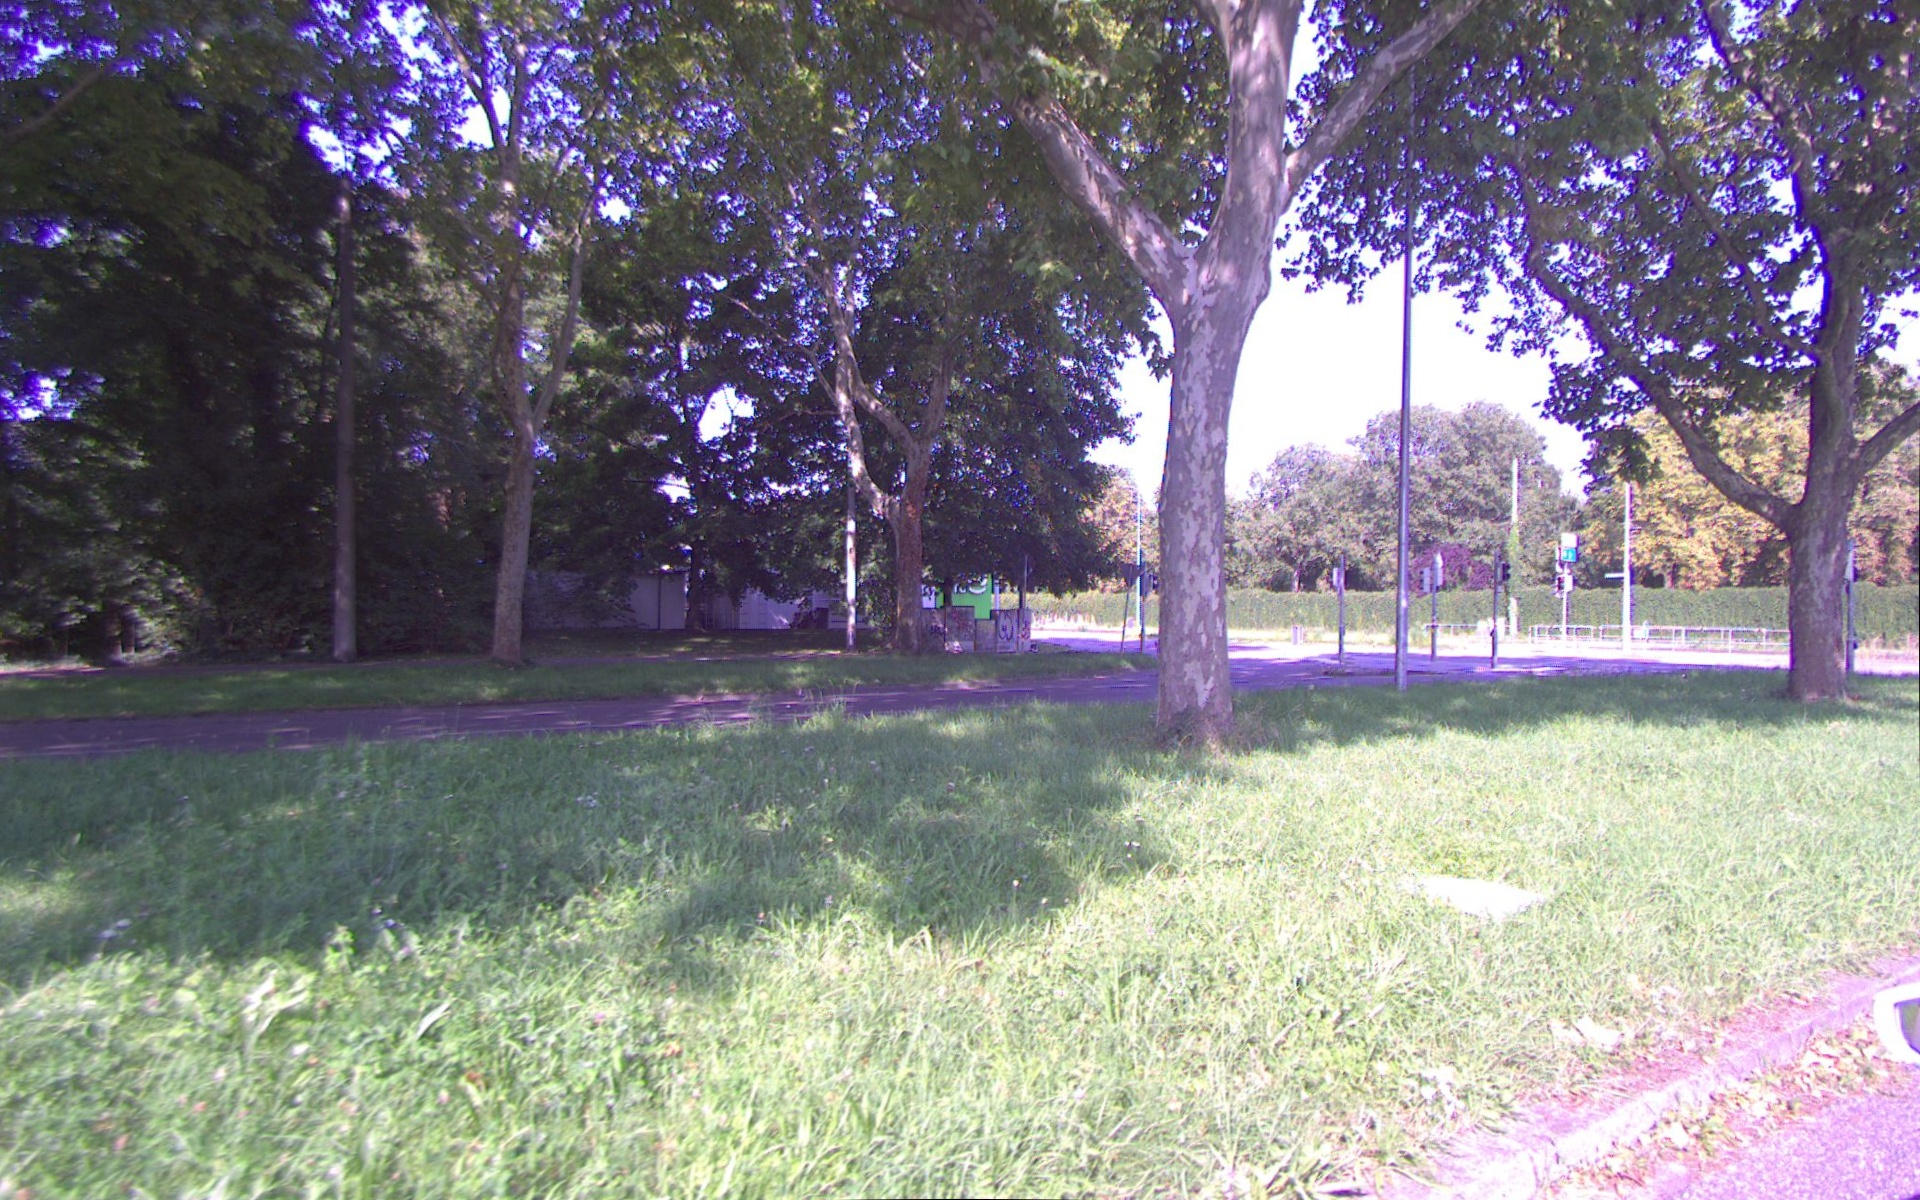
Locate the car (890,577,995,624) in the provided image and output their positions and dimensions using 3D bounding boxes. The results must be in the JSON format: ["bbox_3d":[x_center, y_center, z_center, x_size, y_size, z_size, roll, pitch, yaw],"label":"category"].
[{"bbox_3d":[-0.845,0.058,50.717,5.073,2.293,2.016,1,0,-36],"label":"car"}]

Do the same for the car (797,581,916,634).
[{"bbox_3d":[-4.431,0.322,43.320,4.664,2.165,2.164,1,-1,-36],"label":"car"}]

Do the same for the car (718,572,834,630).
[{"bbox_3d":[-8.247,0.080,45.189,4.664,2.472,2.164,1,-1,-36],"label":"car"}]
